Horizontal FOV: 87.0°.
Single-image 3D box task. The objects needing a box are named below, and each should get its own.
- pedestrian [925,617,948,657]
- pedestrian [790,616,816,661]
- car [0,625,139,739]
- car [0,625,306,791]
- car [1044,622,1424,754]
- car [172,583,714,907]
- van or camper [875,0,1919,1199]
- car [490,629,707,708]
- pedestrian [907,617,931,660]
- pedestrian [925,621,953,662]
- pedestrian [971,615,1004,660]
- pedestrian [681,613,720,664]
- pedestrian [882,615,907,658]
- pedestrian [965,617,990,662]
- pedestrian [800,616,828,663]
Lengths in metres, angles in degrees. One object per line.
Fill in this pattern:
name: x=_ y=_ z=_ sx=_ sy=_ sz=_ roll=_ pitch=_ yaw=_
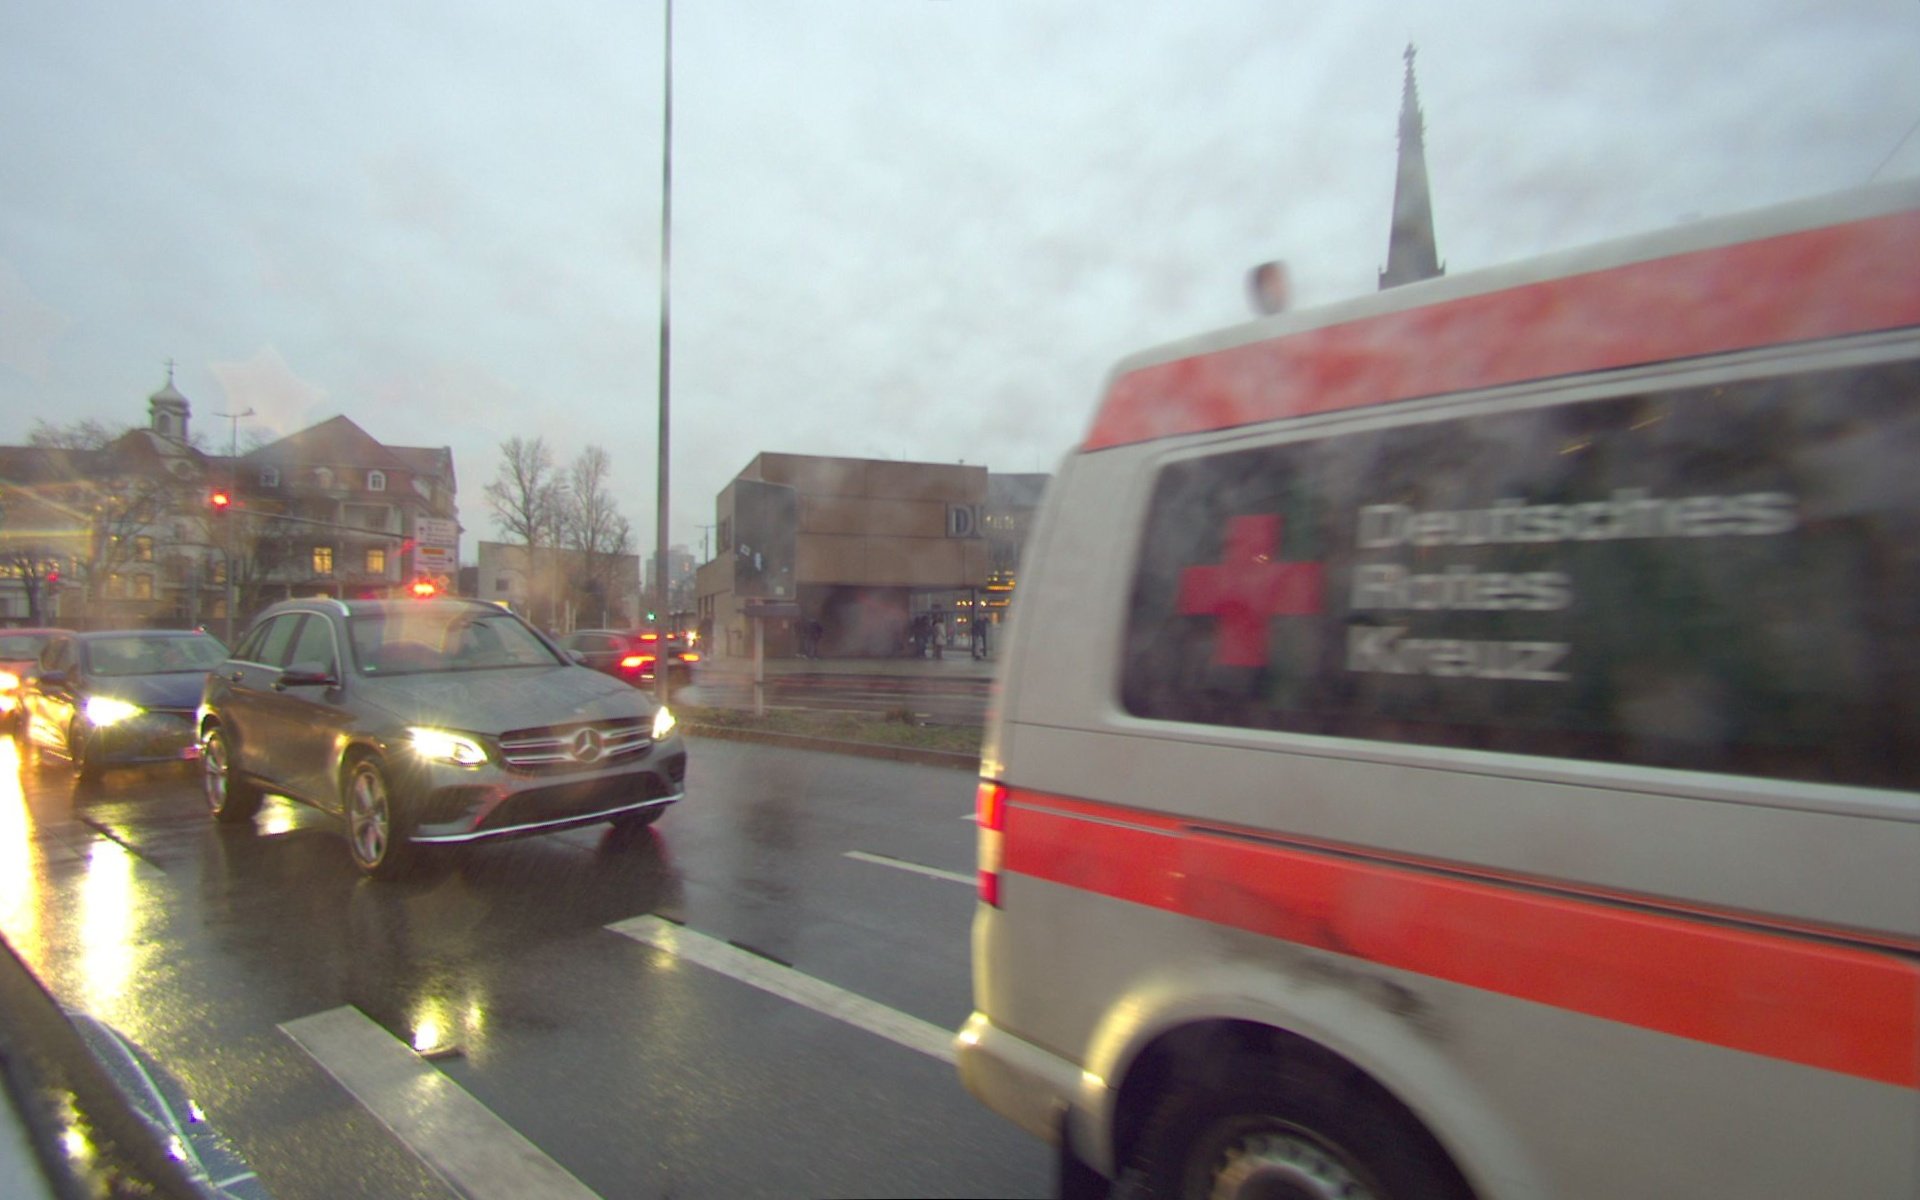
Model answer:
pedestrian: x=-1.027 y=1.631 z=44.377 sx=0.741 sy=1.739 sz=0.735 roll=-1 pitch=-3 yaw=31
pedestrian: x=-6.224 y=1.529 z=40.123 sx=0.731 sy=1.739 sz=0.745 roll=2 pitch=-3 yaw=-42
car: x=-14.401 y=1.189 z=15.632 sx=3.863 sy=1.493 sz=1.686 roll=-1 pitch=0 yaw=35
car: x=-8.771 y=1.007 z=10.824 sx=4.112 sy=1.414 sz=1.644 roll=-1 pitch=0 yaw=37
car: x=3.413 y=1.011 z=13.070 sx=4.443 sy=1.383 sz=1.657 roll=-1 pitch=0 yaw=38
car: x=-3.879 y=0.755 z=7.197 sx=4.537 sy=1.613 sz=1.767 roll=-1 pitch=0 yaw=40
van or camper: x=2.373 y=0.303 z=1.441 sx=4.987 sy=2.125 sz=2.178 roll=-1 pitch=-1 yaw=43
car: x=-7.563 y=1.342 z=20.991 sx=4.811 sy=1.430 sz=1.790 roll=-1 pitch=-1 yaw=35
pedestrian: x=-1.707 y=1.600 z=42.050 sx=0.740 sy=1.739 sz=0.736 roll=-1 pitch=-3 yaw=27
pedestrian: x=-0.839 y=1.643 z=40.108 sx=0.841 sy=1.615 sz=0.968 roll=1 pitch=-3 yaw=-21
pedestrian: x=1.189 y=1.637 z=43.853 sx=1.104 sy=1.933 sz=1.066 roll=1 pitch=-3 yaw=-19
pedestrian: x=-9.747 y=1.444 z=38.020 sx=1.018 sy=1.872 sz=1.237 roll=0 pitch=-4 yaw=-36
pedestrian: x=-2.671 y=1.496 z=41.322 sx=0.731 sy=1.739 sz=0.745 roll=2 pitch=-3 yaw=-42
pedestrian: x=0.703 y=1.567 z=39.855 sx=0.757 sy=1.764 sz=0.795 roll=-1 pitch=-3 yaw=22
pedestrian: x=-5.612 y=1.523 z=38.869 sx=0.828 sy=1.781 sz=0.657 roll=-1 pitch=-3 yaw=23
